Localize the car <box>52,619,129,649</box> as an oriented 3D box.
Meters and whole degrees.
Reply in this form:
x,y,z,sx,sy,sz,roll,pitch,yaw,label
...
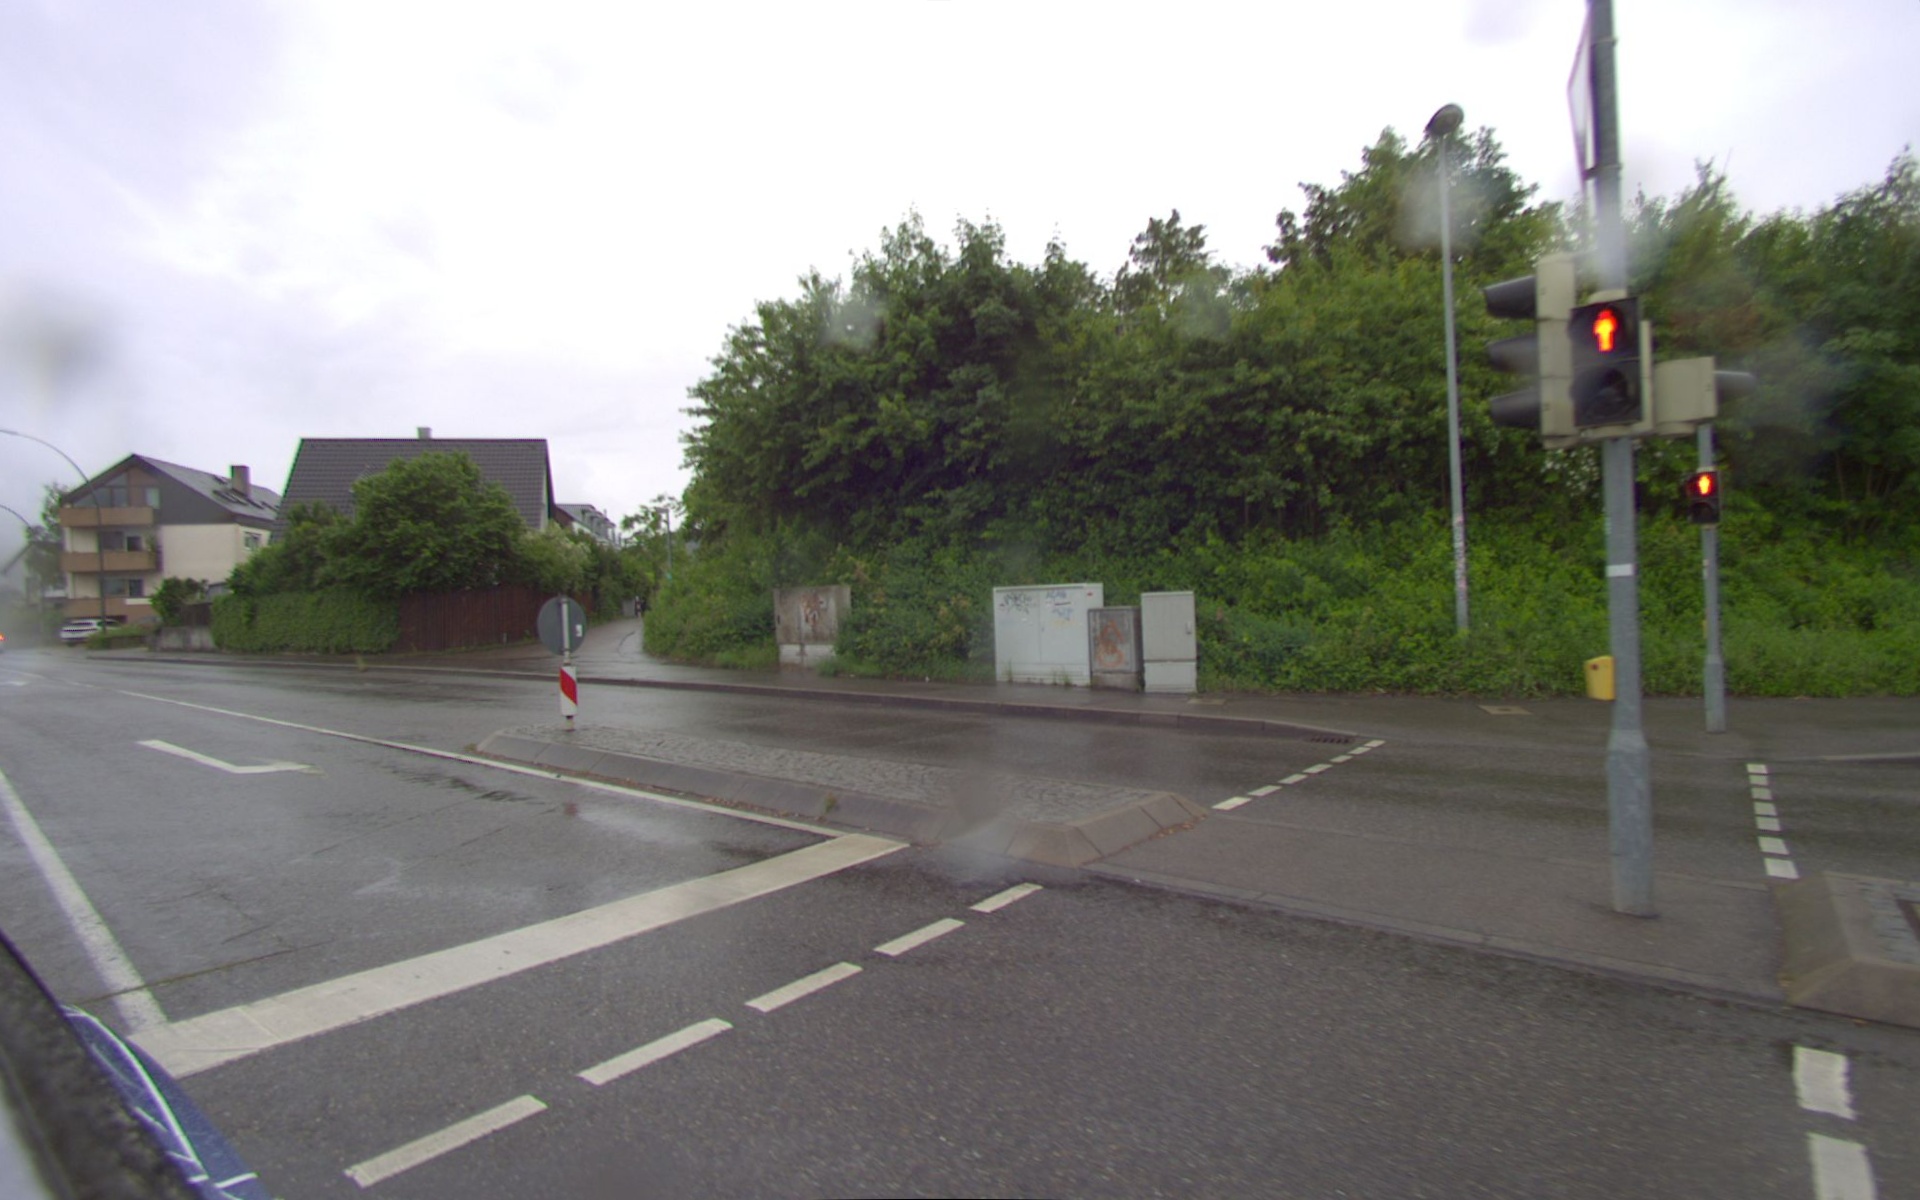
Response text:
x,y,z,sx,sy,sz,roll,pitch,yaw,label
-49.405,1.906,57.616,1.638,1.558,4.010,-1,1,-13,car
